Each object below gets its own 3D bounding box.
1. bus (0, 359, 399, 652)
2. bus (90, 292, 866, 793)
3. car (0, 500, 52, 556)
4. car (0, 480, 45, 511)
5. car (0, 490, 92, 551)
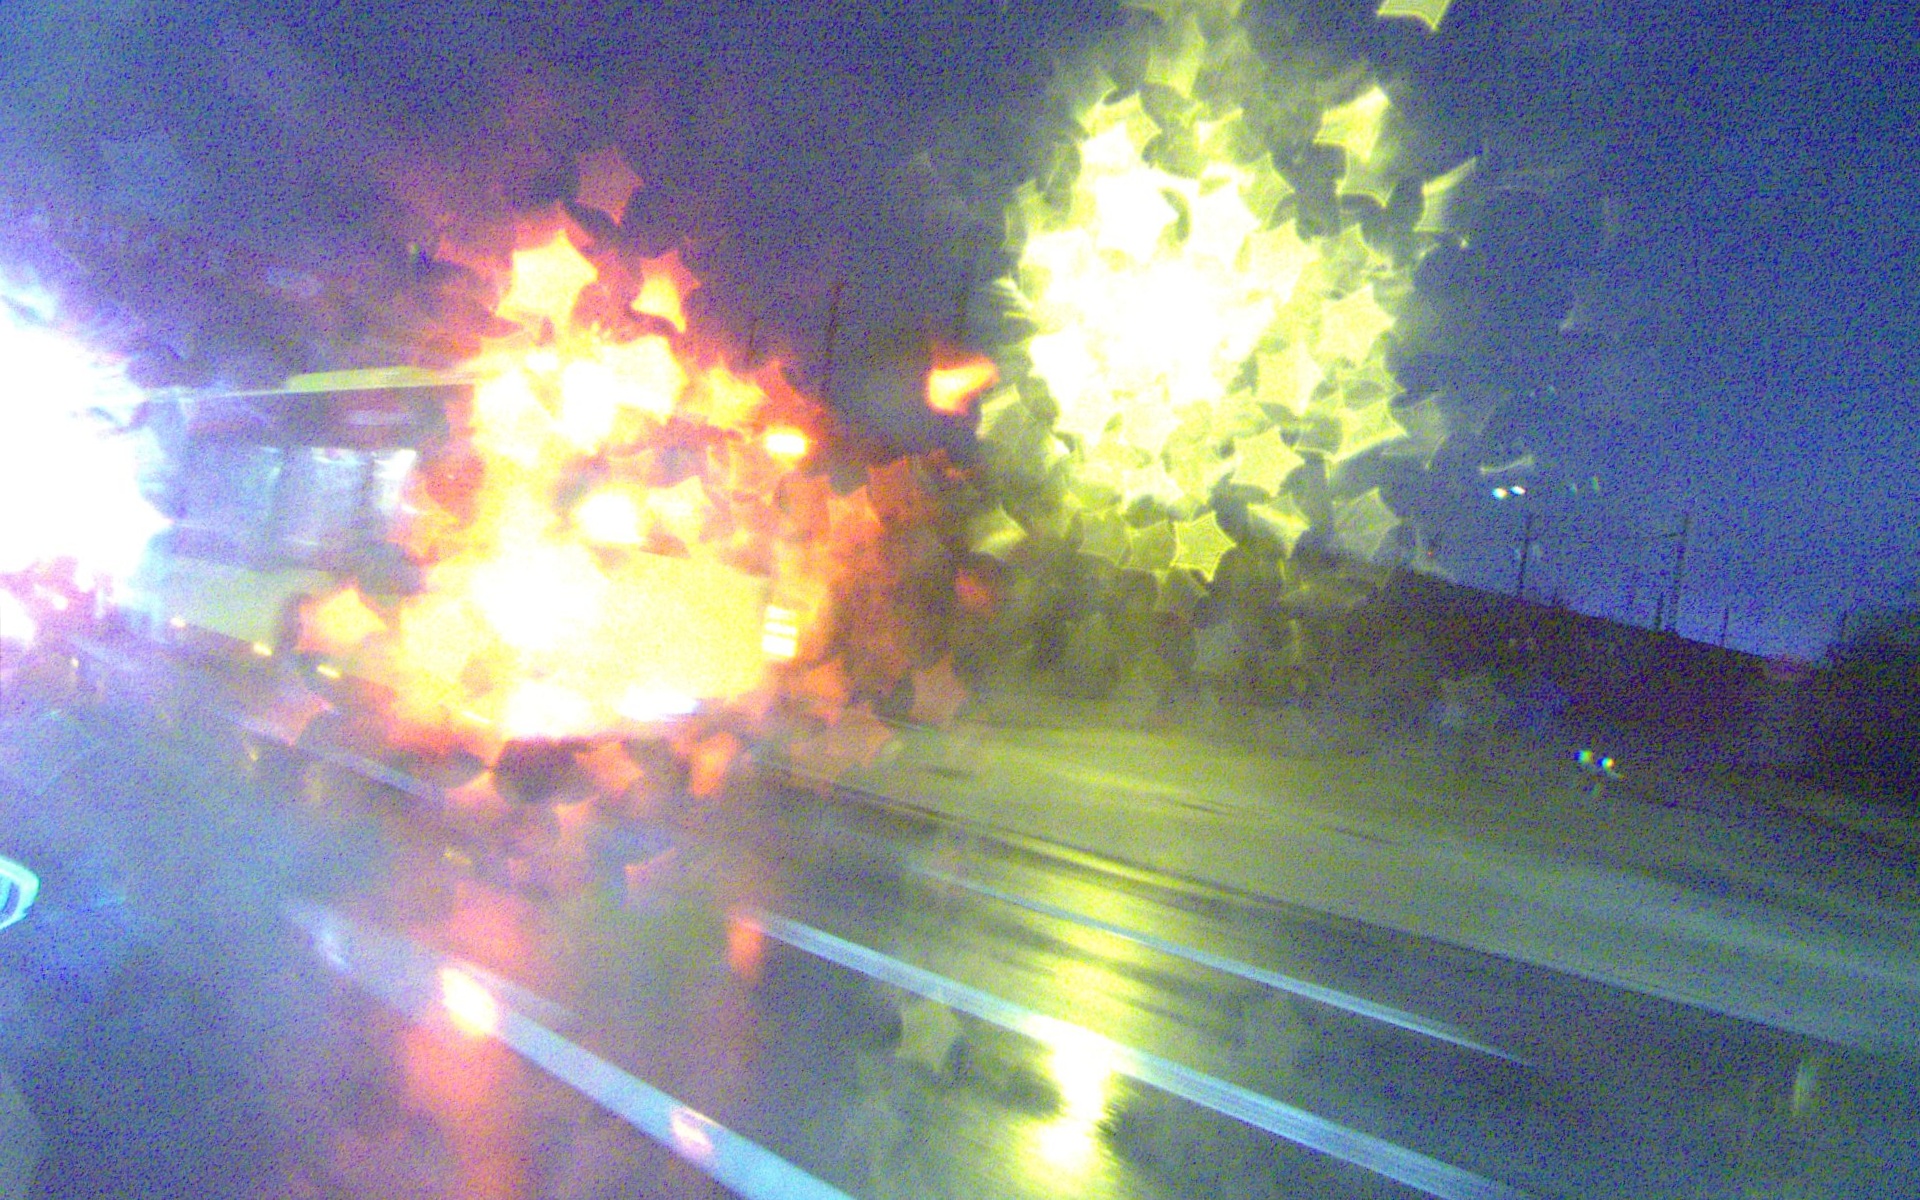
[{"bbox_3d":[-12.508,-1.427,15.700,8.914,3.250,3.044,6,-1,38],"label":"bus"},{"bbox_3d":[-5.482,-0.621,10.342,8.910,3.250,3.046,6,-1,36],"label":"bus"},{"bbox_3d":[-33.007,-2.569,34.942,1.780,1.704,3.957,8,-1,-38],"label":"car"},{"bbox_3d":[-64.025,-7.117,68.764,1.780,1.704,3.957,8,-1,-38],"label":"car"},{"bbox_3d":[-28.431,-2.475,31.336,1.768,1.519,3.957,8,-1,-38],"label":"car"}]
